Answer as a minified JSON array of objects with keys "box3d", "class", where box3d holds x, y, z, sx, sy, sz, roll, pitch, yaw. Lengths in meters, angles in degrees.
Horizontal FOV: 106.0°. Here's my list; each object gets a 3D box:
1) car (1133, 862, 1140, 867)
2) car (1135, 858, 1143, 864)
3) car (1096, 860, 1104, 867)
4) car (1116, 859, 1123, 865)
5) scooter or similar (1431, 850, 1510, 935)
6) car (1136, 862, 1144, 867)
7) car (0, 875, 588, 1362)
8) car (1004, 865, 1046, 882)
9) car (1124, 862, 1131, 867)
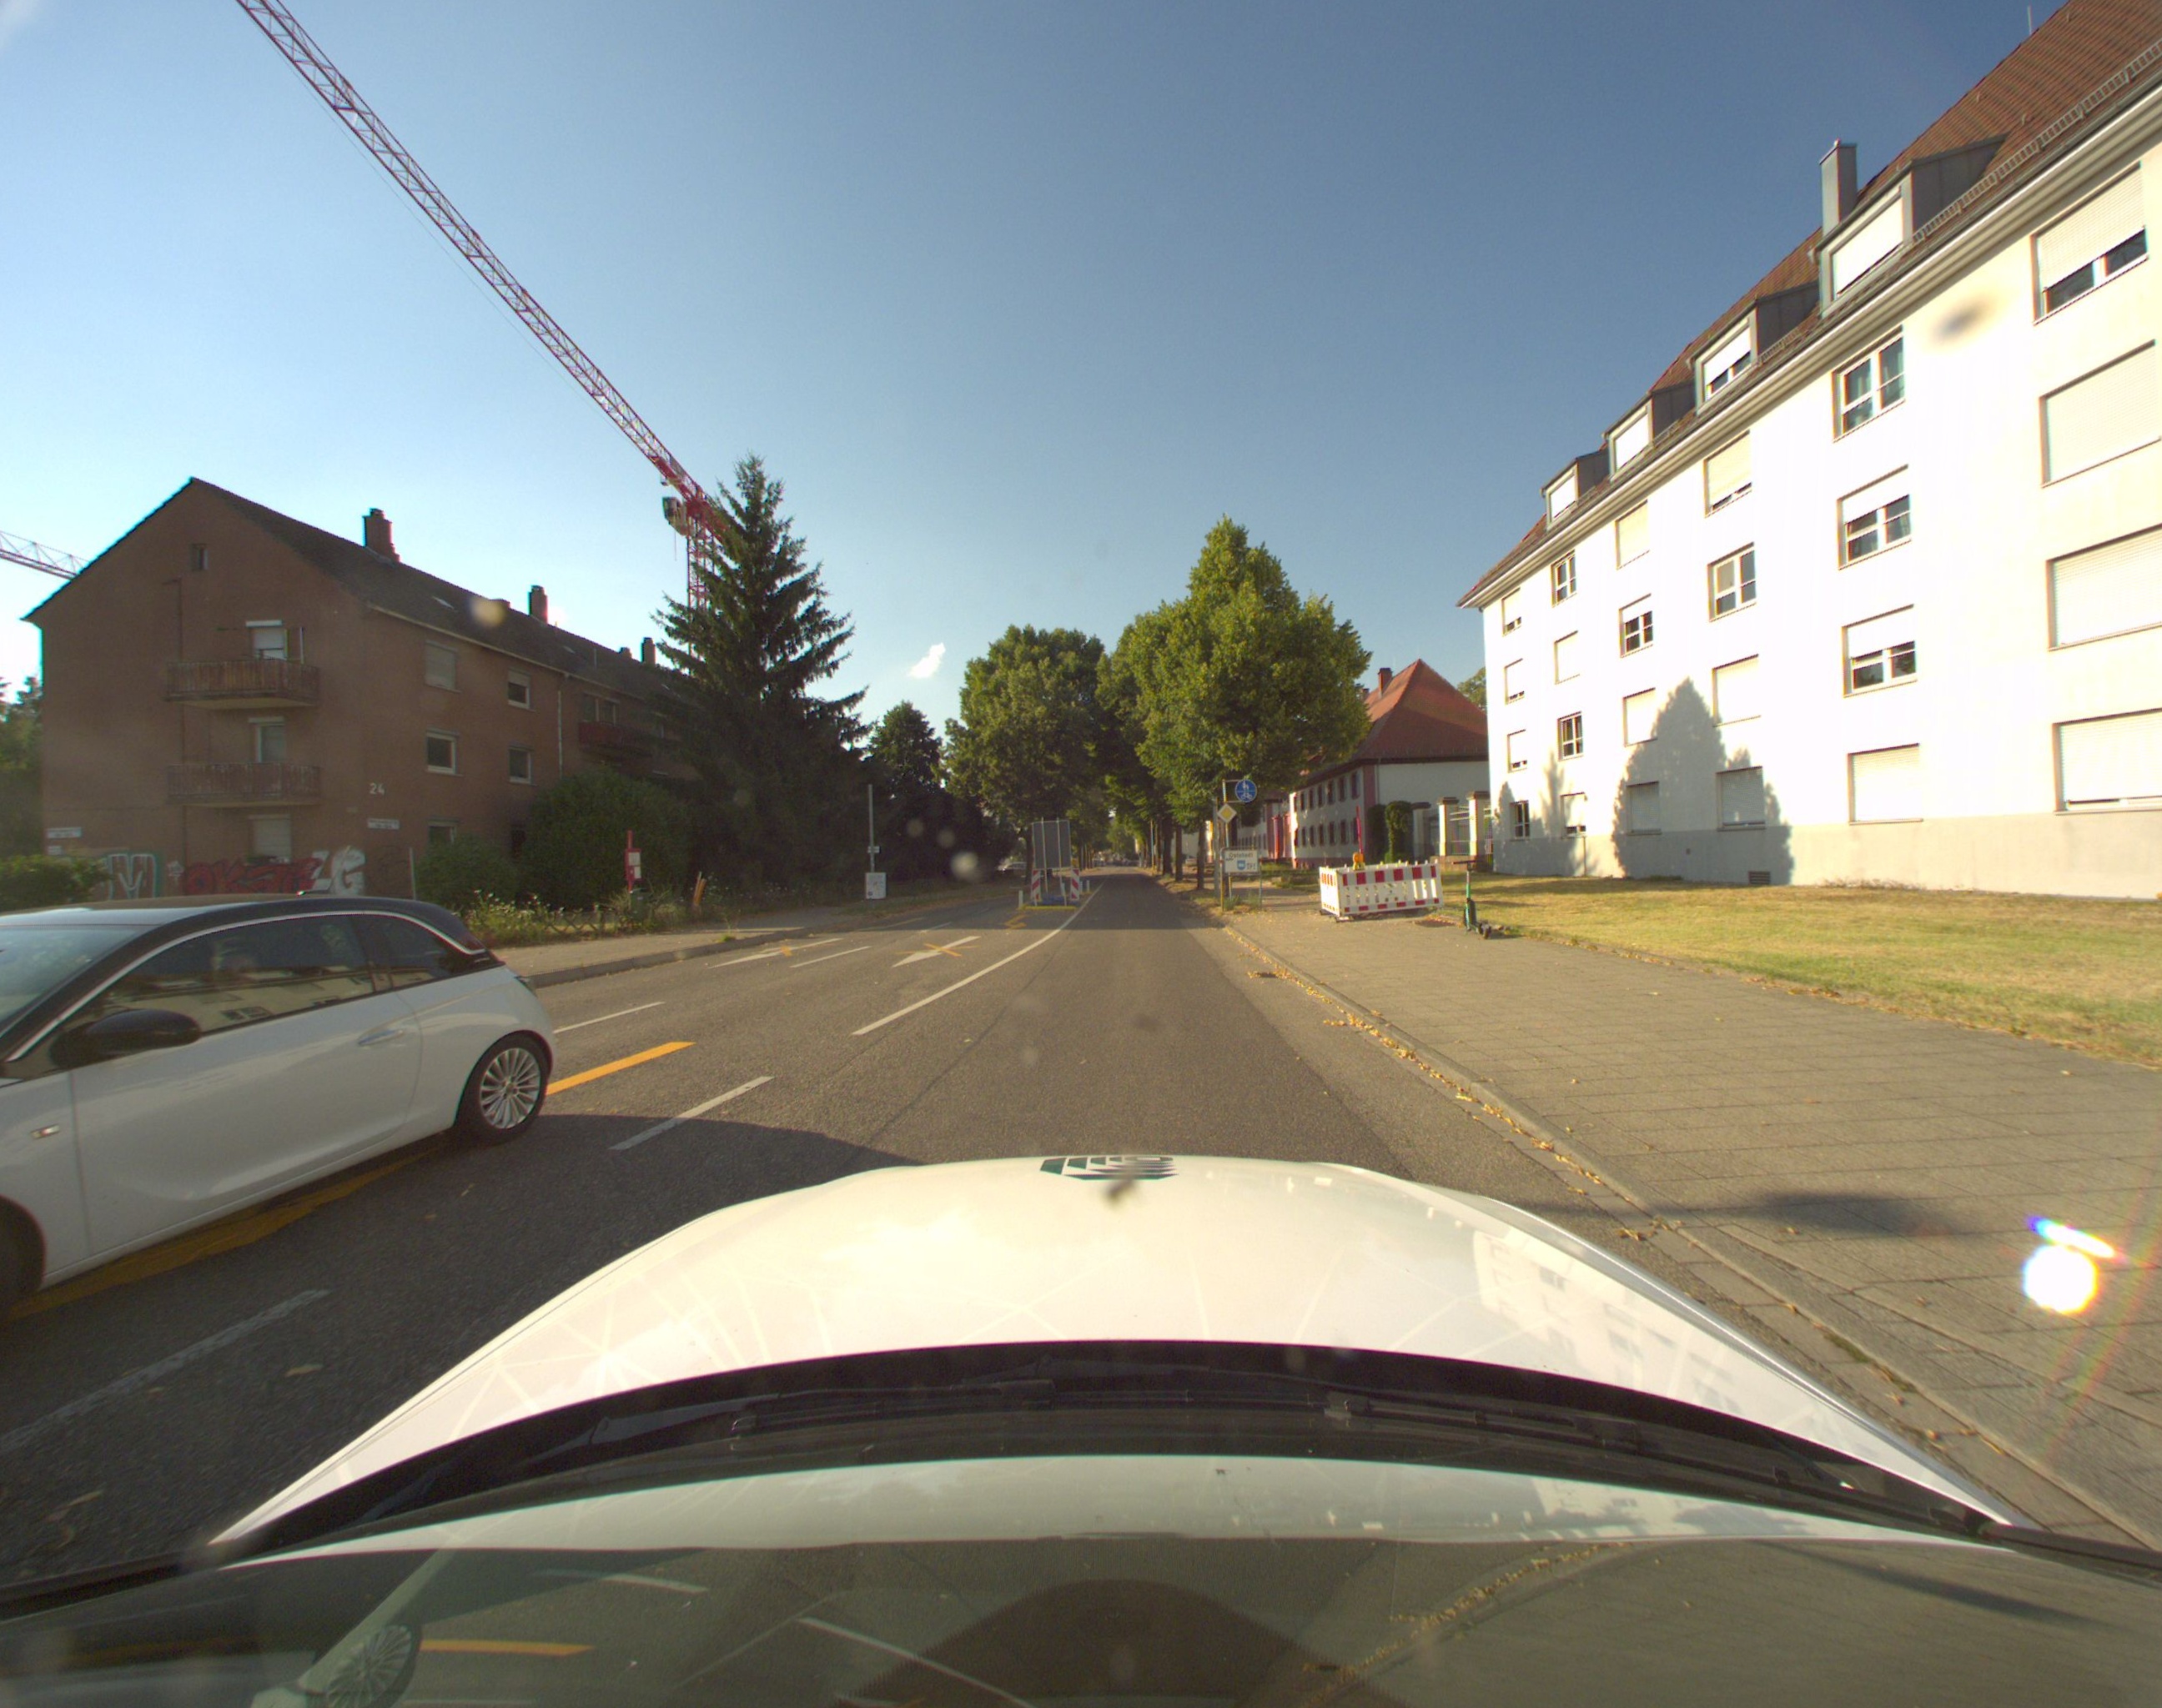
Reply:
[{"box3d":[14.448,2.653,212.879,1.834,1.261,4.002,-3,-1,2],"class":"car"},{"box3d":[14.627,1.771,205.907,1.832,1.261,4.007,-2,0,6],"class":"car"},{"box3d":[5.108,2.640,218.413,1.989,1.687,3.996,-2,-1,-3],"class":"car"},{"box3d":[11.190,2.266,236.227,1.709,1.486,3.998,-3,-1,-1],"class":"car"},{"box3d":[6.440,0.615,13.547,0.556,1.292,1.464,-6,-1,3],"class":"scooter or similar"},{"box3d":[14.170,2.560,195.874,1.834,1.261,4.002,-3,-1,2],"class":"car"},{"box3d":[-4.144,0.886,3.404,1.751,1.421,3.627,-3,0,3],"class":"car"},{"box3d":[-5.382,1.875,78.320,3.826,1.473,1.653,-2,0,5],"class":"car"},{"box3d":[13.760,3.114,241.976,1.835,1.386,3.999,-3,-1,0],"class":"car"}]
